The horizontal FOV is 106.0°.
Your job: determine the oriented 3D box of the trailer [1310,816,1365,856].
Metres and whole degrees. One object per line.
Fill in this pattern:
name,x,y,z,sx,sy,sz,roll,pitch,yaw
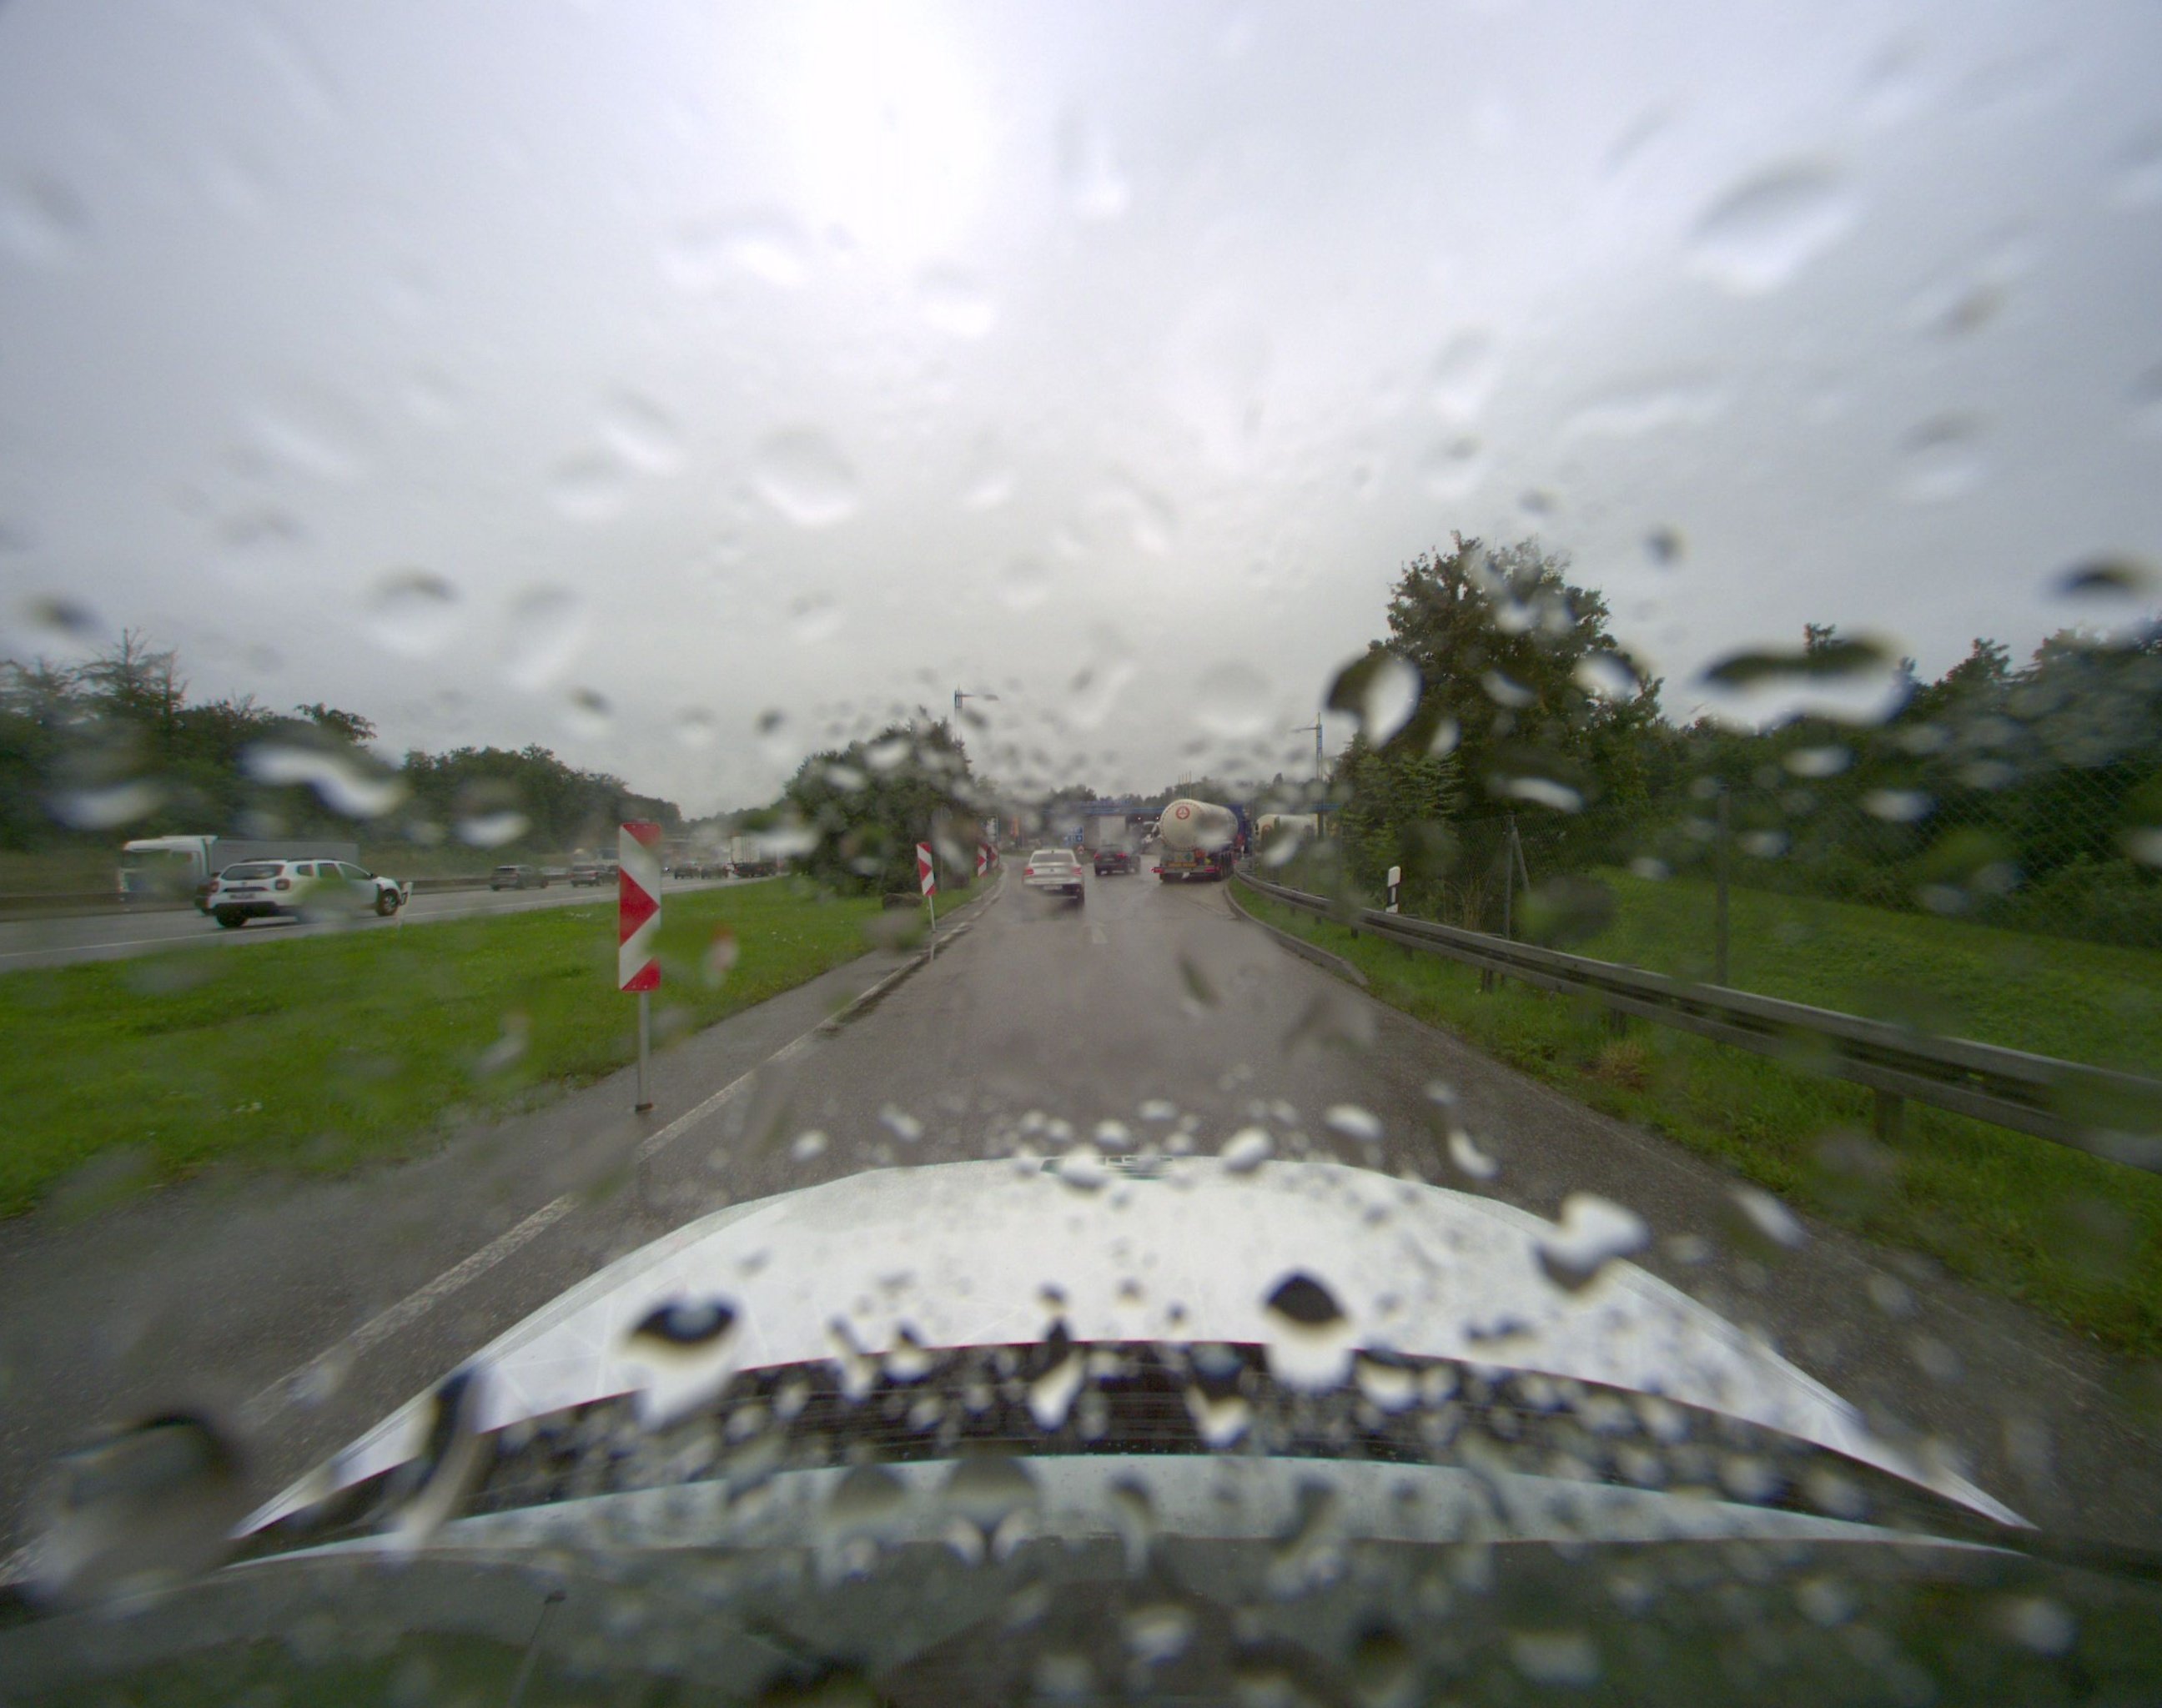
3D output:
trailer,23.006,-1.658,72.793,2.161,3.392,7.613,-1,1,37

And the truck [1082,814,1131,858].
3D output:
truck,2.306,-1.712,79.284,2.370,3.873,12.416,-2,1,-9

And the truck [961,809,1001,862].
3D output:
truck,-7.948,-1.424,64.100,2.914,3.904,6.297,-1,1,-9

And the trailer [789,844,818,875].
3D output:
trailer,-43.751,0.940,128.855,3.555,4.612,12.054,-1,-1,-16

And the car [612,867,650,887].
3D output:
car,-41.561,2.115,75.326,1.776,1.736,4.085,-2,-1,-10

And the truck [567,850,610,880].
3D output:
truck,-63.408,1.375,105.068,2.622,3.669,5.972,2,0,-10

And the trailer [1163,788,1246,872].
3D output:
trailer,5.730,-0.988,36.263,1.964,3.224,10.370,0,1,18

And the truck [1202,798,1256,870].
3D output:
truck,7.829,-1.012,42.659,2.036,3.531,4.769,0,1,19

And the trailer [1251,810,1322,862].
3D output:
trailer,15.044,-1.305,58.999,2.111,3.440,10.318,-1,1,30

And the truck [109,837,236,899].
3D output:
truck,-55.824,0.781,50.211,2.715,3.534,4.746,3,0,-11

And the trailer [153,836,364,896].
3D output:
trailer,-57.108,0.607,57.434,2.724,3.538,14.012,3,1,-10

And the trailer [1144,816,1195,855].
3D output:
trailer,9.823,-2.071,92.148,3.213,4.188,11.502,0,1,-7

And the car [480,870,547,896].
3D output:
car,-37.313,1.886,53.689,1.717,1.574,4.448,-2,-1,-7

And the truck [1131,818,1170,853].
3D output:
truck,8.615,-2.260,102.043,3.231,4.188,8.424,0,1,-7

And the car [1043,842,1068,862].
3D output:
car,-1.965,-0.169,63.191,1.874,1.461,3.997,0,0,-2

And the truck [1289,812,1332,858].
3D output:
truck,18.222,-1.472,64.441,2.125,3.512,4.675,-1,1,30

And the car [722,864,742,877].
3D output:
car,-53.652,2.522,125.224,1.994,2.014,3.985,-1,-1,-11

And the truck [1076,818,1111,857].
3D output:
truck,1.260,-1.769,85.805,2.370,3.873,6.990,-2,1,-9

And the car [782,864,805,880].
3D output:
car,-35.123,2.198,99.520,1.994,1.816,3.985,2,-1,-11

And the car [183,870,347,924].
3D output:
car,-28.813,1.454,28.983,1.926,1.663,4.442,-2,-1,-11

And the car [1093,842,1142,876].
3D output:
car,1.998,0.296,43.130,1.730,1.667,4.016,1,-1,15

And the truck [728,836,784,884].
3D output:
truck,-31.436,0.674,79.325,2.850,4.293,11.797,-1,-1,-11

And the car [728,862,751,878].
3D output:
car,-46.071,2.152,109.875,1.994,2.014,3.985,2,-1,-11

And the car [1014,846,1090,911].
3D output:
car,-0.772,0.683,23.838,1.987,1.679,3.999,-2,-1,0

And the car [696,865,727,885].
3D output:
car,-34.680,1.933,76.548,1.776,1.736,3.833,-1,-1,-10

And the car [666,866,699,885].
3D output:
car,-39.590,2.159,81.023,1.776,1.736,4.086,-3,0,-10

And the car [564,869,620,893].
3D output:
car,-34.758,1.894,57.973,1.787,1.527,4.323,-1,-1,-7

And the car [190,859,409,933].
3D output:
car,-19.477,0.965,20.620,1.785,1.586,4.310,-2,0,-9
